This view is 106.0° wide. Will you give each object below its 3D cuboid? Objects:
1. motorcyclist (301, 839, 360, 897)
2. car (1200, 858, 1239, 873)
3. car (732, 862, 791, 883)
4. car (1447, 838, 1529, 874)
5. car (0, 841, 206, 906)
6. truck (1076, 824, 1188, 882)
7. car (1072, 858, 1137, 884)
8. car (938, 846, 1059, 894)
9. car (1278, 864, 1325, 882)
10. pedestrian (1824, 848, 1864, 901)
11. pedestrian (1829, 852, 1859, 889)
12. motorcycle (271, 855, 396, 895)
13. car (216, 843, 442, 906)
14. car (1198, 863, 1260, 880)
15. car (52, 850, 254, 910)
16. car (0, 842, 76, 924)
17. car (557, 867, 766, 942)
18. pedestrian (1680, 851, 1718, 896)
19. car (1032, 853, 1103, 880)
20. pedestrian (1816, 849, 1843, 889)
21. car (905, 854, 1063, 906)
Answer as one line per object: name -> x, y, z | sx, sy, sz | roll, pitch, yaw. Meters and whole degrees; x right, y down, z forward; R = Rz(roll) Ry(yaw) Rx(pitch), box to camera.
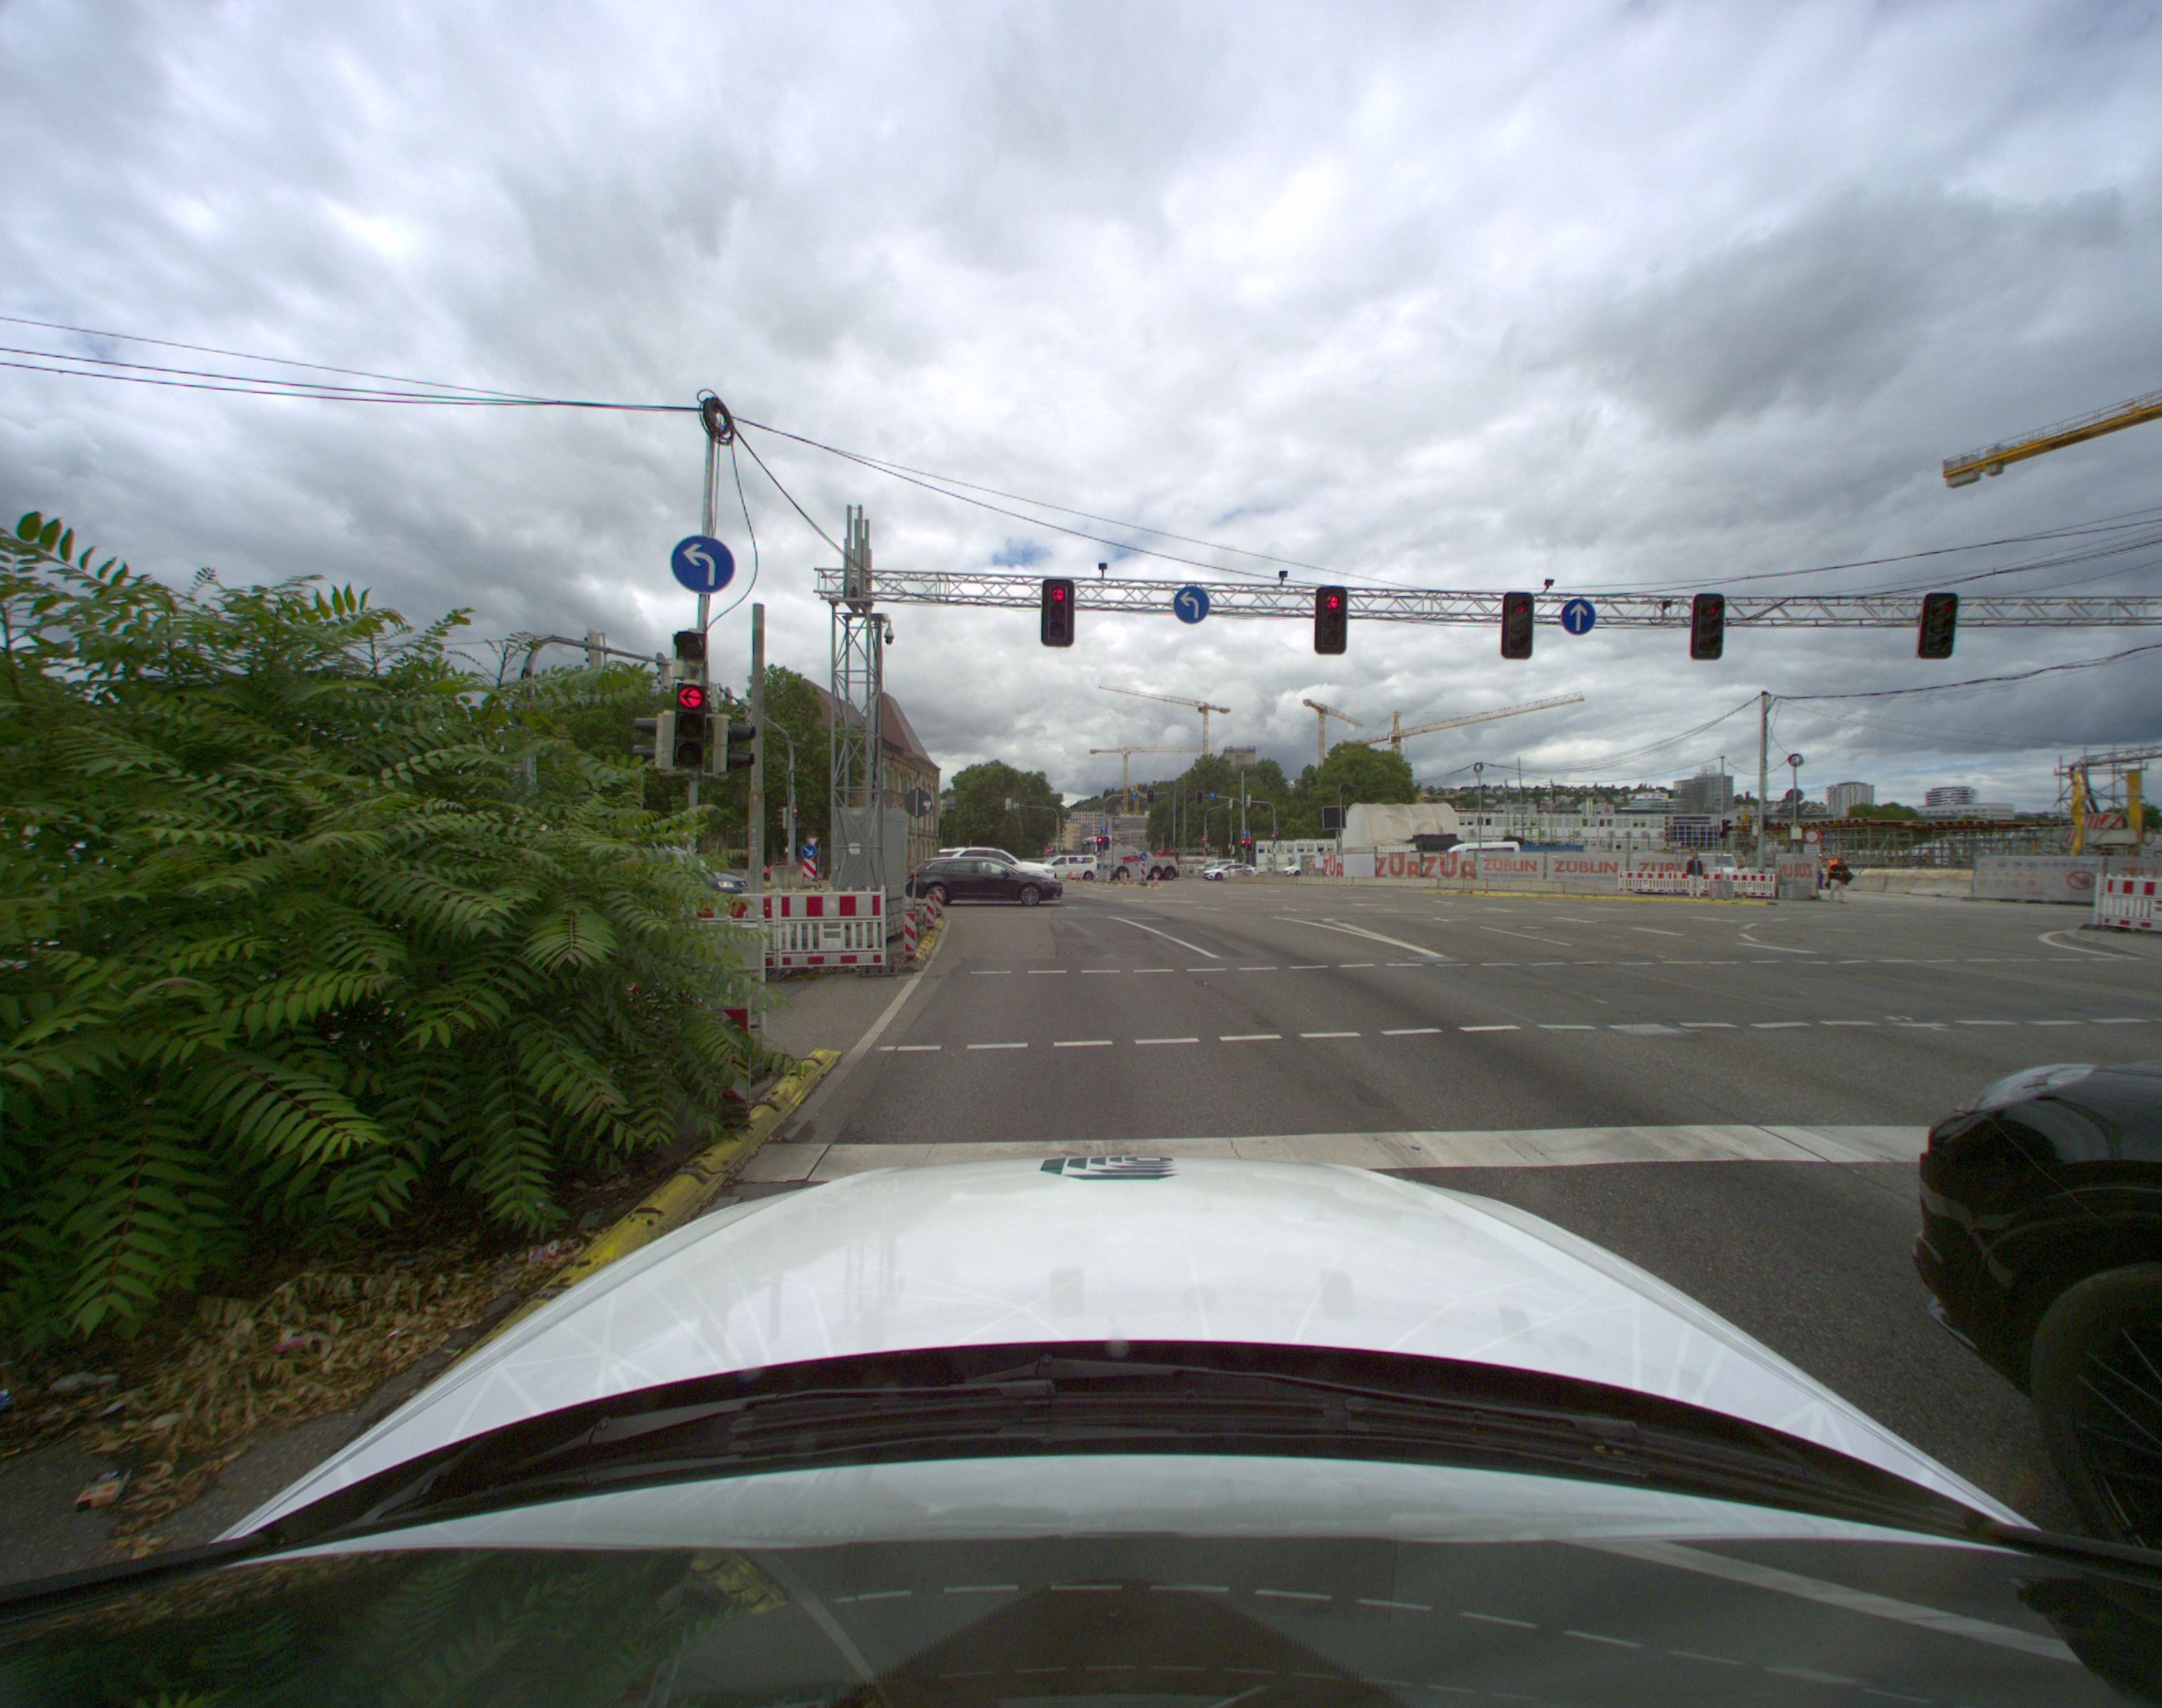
motorcyclist -> -18.344, 0.333, 19.916 | 0.786, 1.380, 0.697 | 0, -1, -2
car -> 15.475, 1.291, 91.007 | 3.949, 1.651, 1.878 | -1, -1, 28
car -> -22.702, 1.289, 57.985 | 3.820, 1.386, 1.792 | 0, -1, -20
car -> 23.467, 0.124, 47.107 | 3.955, 2.014, 2.009 | -1, -1, 17
car -> -28.310, 0.542, 23.421 | 4.063, 1.740, 1.909 | 1, -1, -1
truck -> 4.631, -0.067, 73.246 | 9.761, 4.961, 3.088 | 0, -1, -25
car -> 1.967, 1.404, 68.308 | 5.149, 2.014, 2.063 | 0, -1, -21
car -> -3.140, 0.604, 31.356 | 4.482, 1.759, 1.997 | 0, -1, -4
car -> 21.778, 1.852, 80.336 | 4.164, 1.724, 1.895 | 0, -1, -22
pedestrian -> 29.595, 0.770, 31.573 | 1.040, 2.014, 1.034 | 0, -1, -43
pedestrian -> 39.177, 0.840, 41.827 | 0.677, 1.916, 0.865 | 0, -1, -4
motorcycle -> -18.240, 0.505, 19.909 | 2.342, 0.941, 0.697 | 0, -1, -2
car -> -19.867, 0.524, 21.677 | 4.095, 1.547, 1.999 | 0, -1, -2
car -> 13.353, 1.542, 73.337 | 5.153, 1.419, 2.221 | 0, -1, -22
car -> -28.769, 0.799, 25.360 | 3.975, 1.740, 1.909 | 1, -1, -1
car -> -23.544, 0.598, 16.583 | 4.331, 1.626, 1.890 | 0, -1, 8
car -> -10.551, 1.245, 20.739 | 4.254, 1.805, 2.000 | 0, -1, 1
pedestrian -> 25.729, 0.812, 33.946 | 1.035, 1.848, 0.794 | -1, -1, 17
car -> -1.065, 0.949, 64.148 | 5.149, 2.014, 2.063 | 0, -1, -21
pedestrian -> 38.287, 0.748, 41.664 | 0.673, 2.014, 0.869 | -1, -1, 14
car -> -2.814, 0.750, 24.393 | 4.476, 1.466, 2.000 | 0, -1, 0
